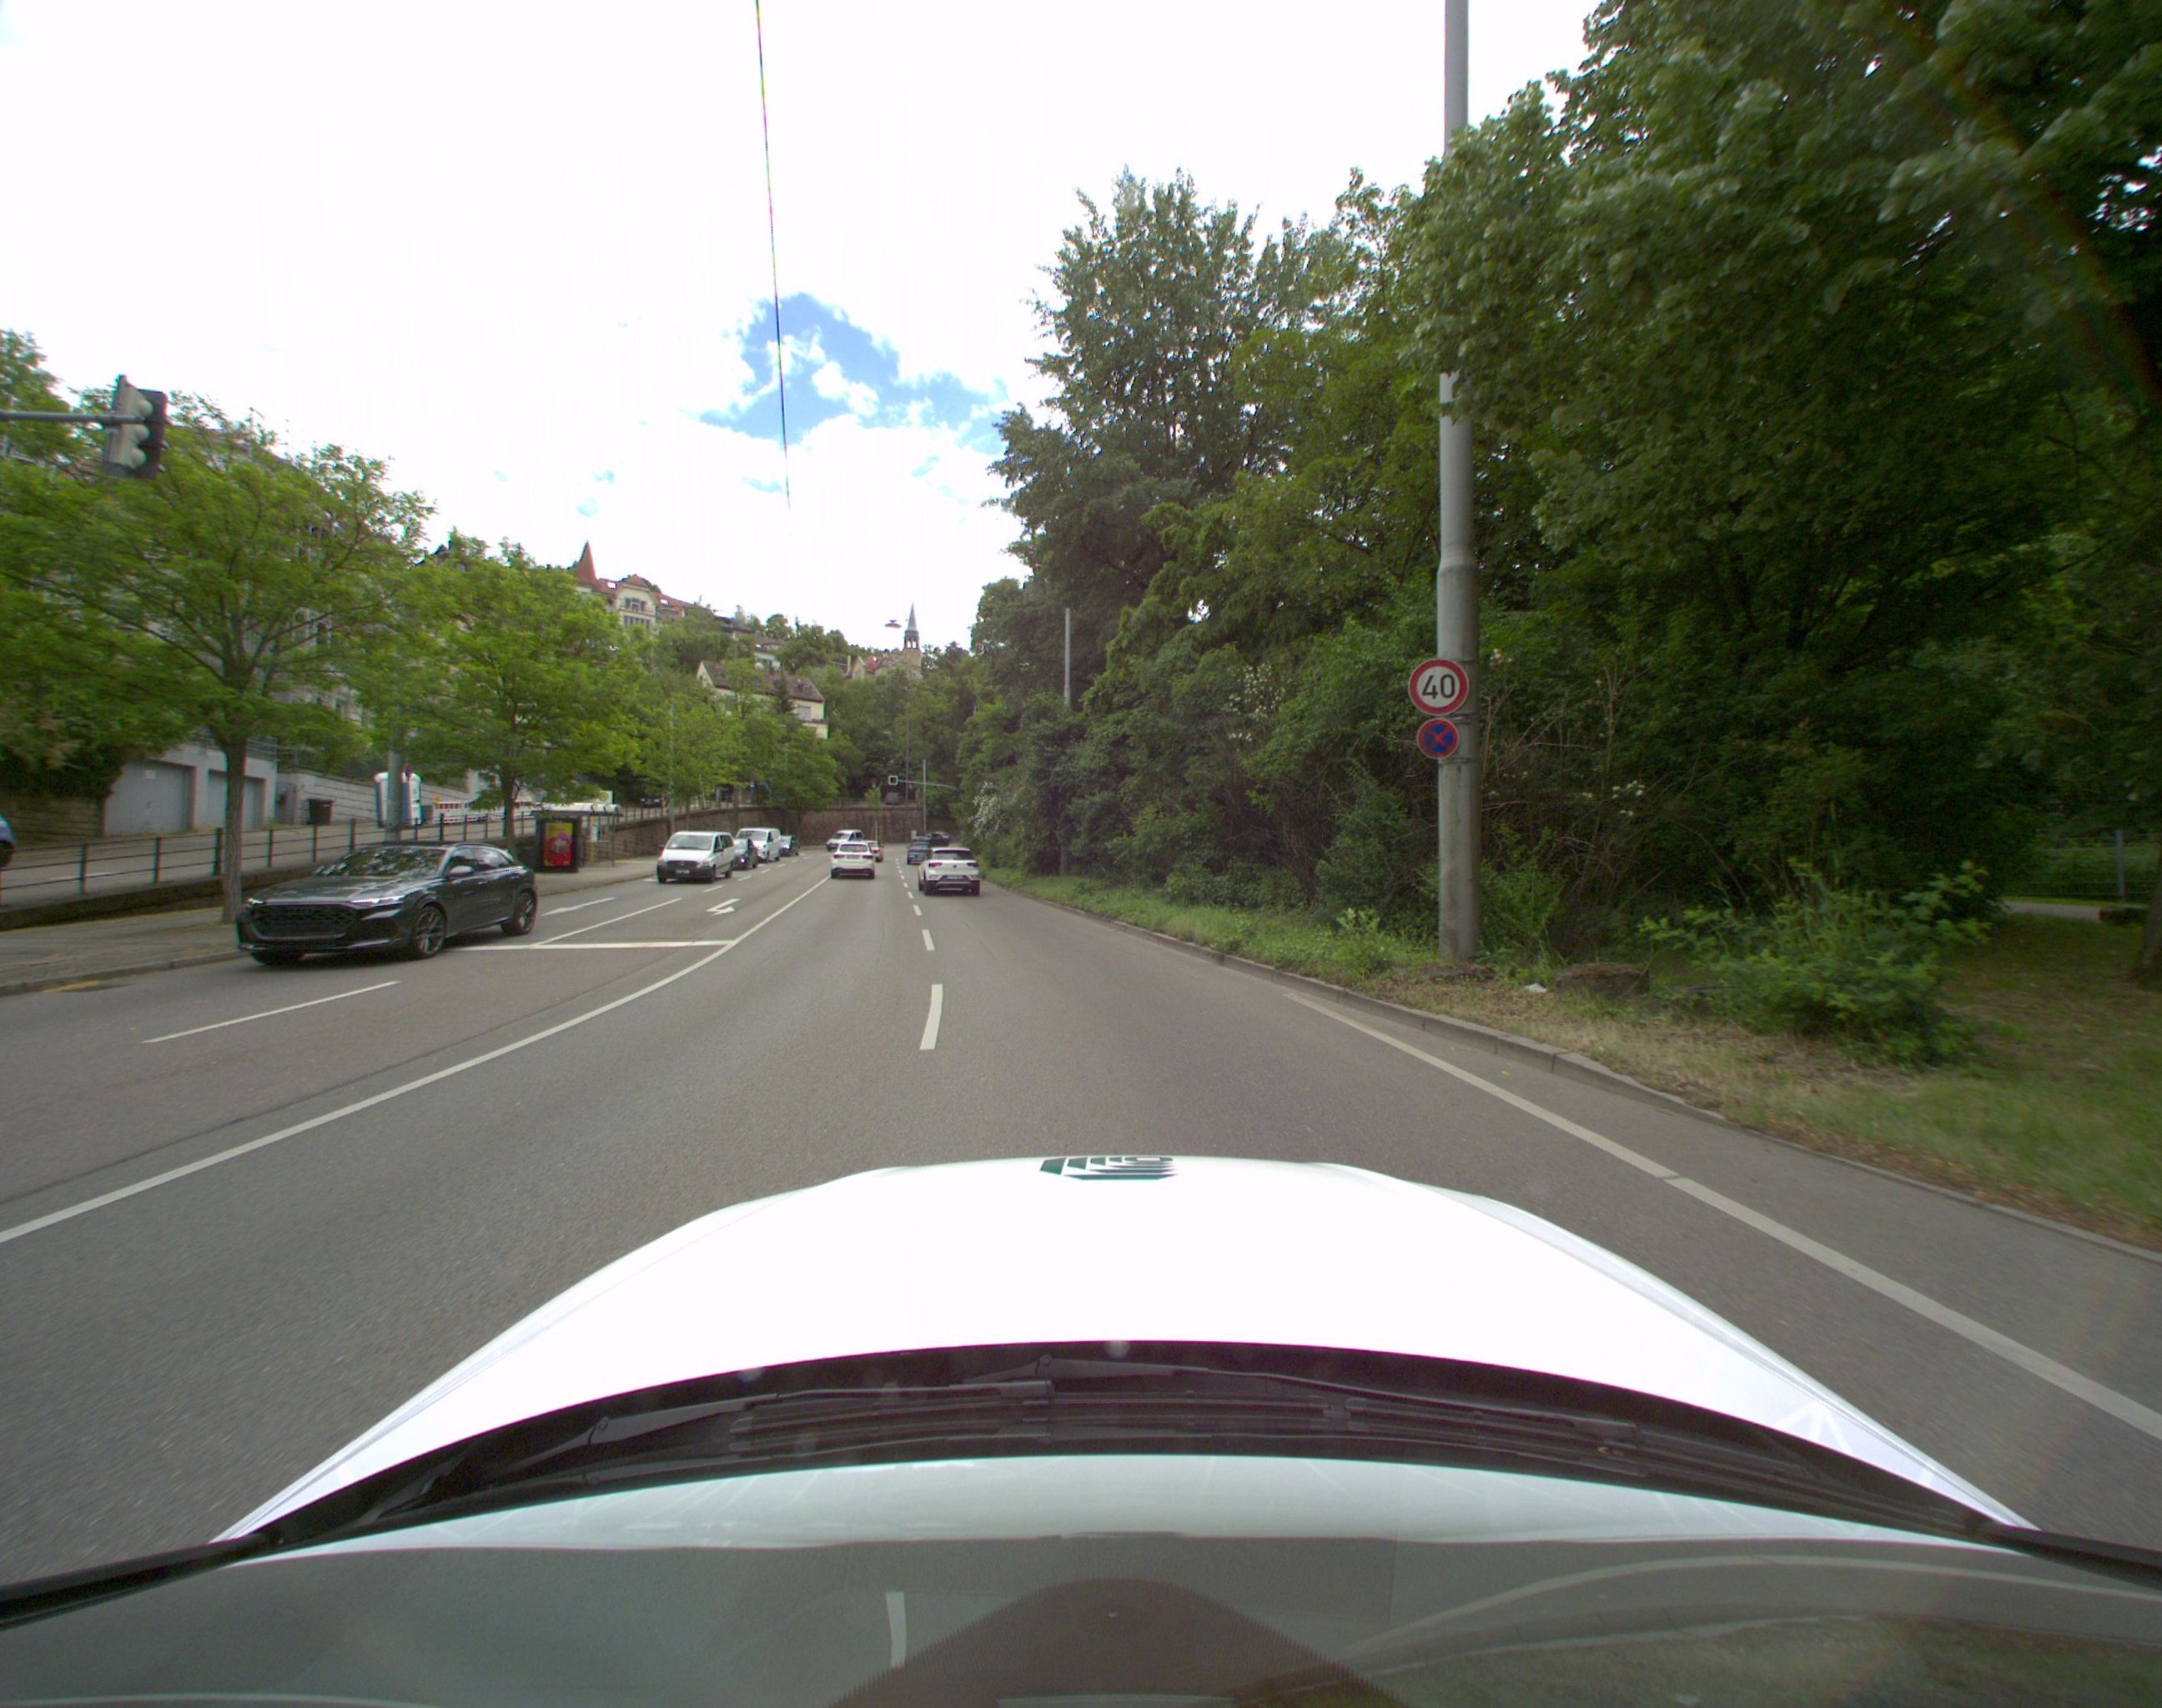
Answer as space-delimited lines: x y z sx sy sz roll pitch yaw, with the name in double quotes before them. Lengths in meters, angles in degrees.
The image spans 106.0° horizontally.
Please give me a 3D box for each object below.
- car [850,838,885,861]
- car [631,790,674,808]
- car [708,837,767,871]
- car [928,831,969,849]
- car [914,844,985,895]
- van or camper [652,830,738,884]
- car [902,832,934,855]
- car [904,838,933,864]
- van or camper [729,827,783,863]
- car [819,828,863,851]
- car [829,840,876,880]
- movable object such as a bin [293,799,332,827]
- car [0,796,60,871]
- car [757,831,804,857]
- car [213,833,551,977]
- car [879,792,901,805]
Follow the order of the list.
"car" -14.948 -0.325 57.085 2.251 1.519 4.287 -1 1 -14
"car" -34.225 -4.390 65.143 1.547 1.279 3.596 -1 1 -2
"car" -16.753 -0.018 39.904 1.996 1.520 3.972 1 1 -14
"car" -13.887 -1.447 85.616 1.927 1.693 4.312 3 2 31
"car" -4.477 0.495 27.300 1.869 1.556 3.873 1 0 -16
"van or camper" -14.853 0.051 31.646 1.997 1.895 5.430 0 1 -14
"car" -15.279 -1.015 76.508 2.184 2.013 3.997 -2 1 -2
"car" -11.204 -0.216 56.006 1.863 1.632 3.942 -3 1 -13
"van or camper" -19.104 -0.549 48.128 1.995 2.013 5.540 1 1 -12
"car" -20.691 -1.235 70.447 1.934 1.798 4.296 3 0 9
"car" -10.290 0.231 36.853 1.880 1.652 4.319 -1 0 -15
"movable object such as a bin" -30.236 -1.603 32.052 0.808 1.042 0.833 0 1 -19
"car" -24.515 -0.379 16.864 1.993 1.573 3.989 2 4 -10
"car" -21.275 -0.729 57.796 1.991 1.617 4.321 3 2 -6
"car" -10.681 0.622 13.054 1.896 1.791 4.742 -3 1 -11
"car" -23.131 -6.793 98.853 1.989 1.485 3.997 0 5 -4
